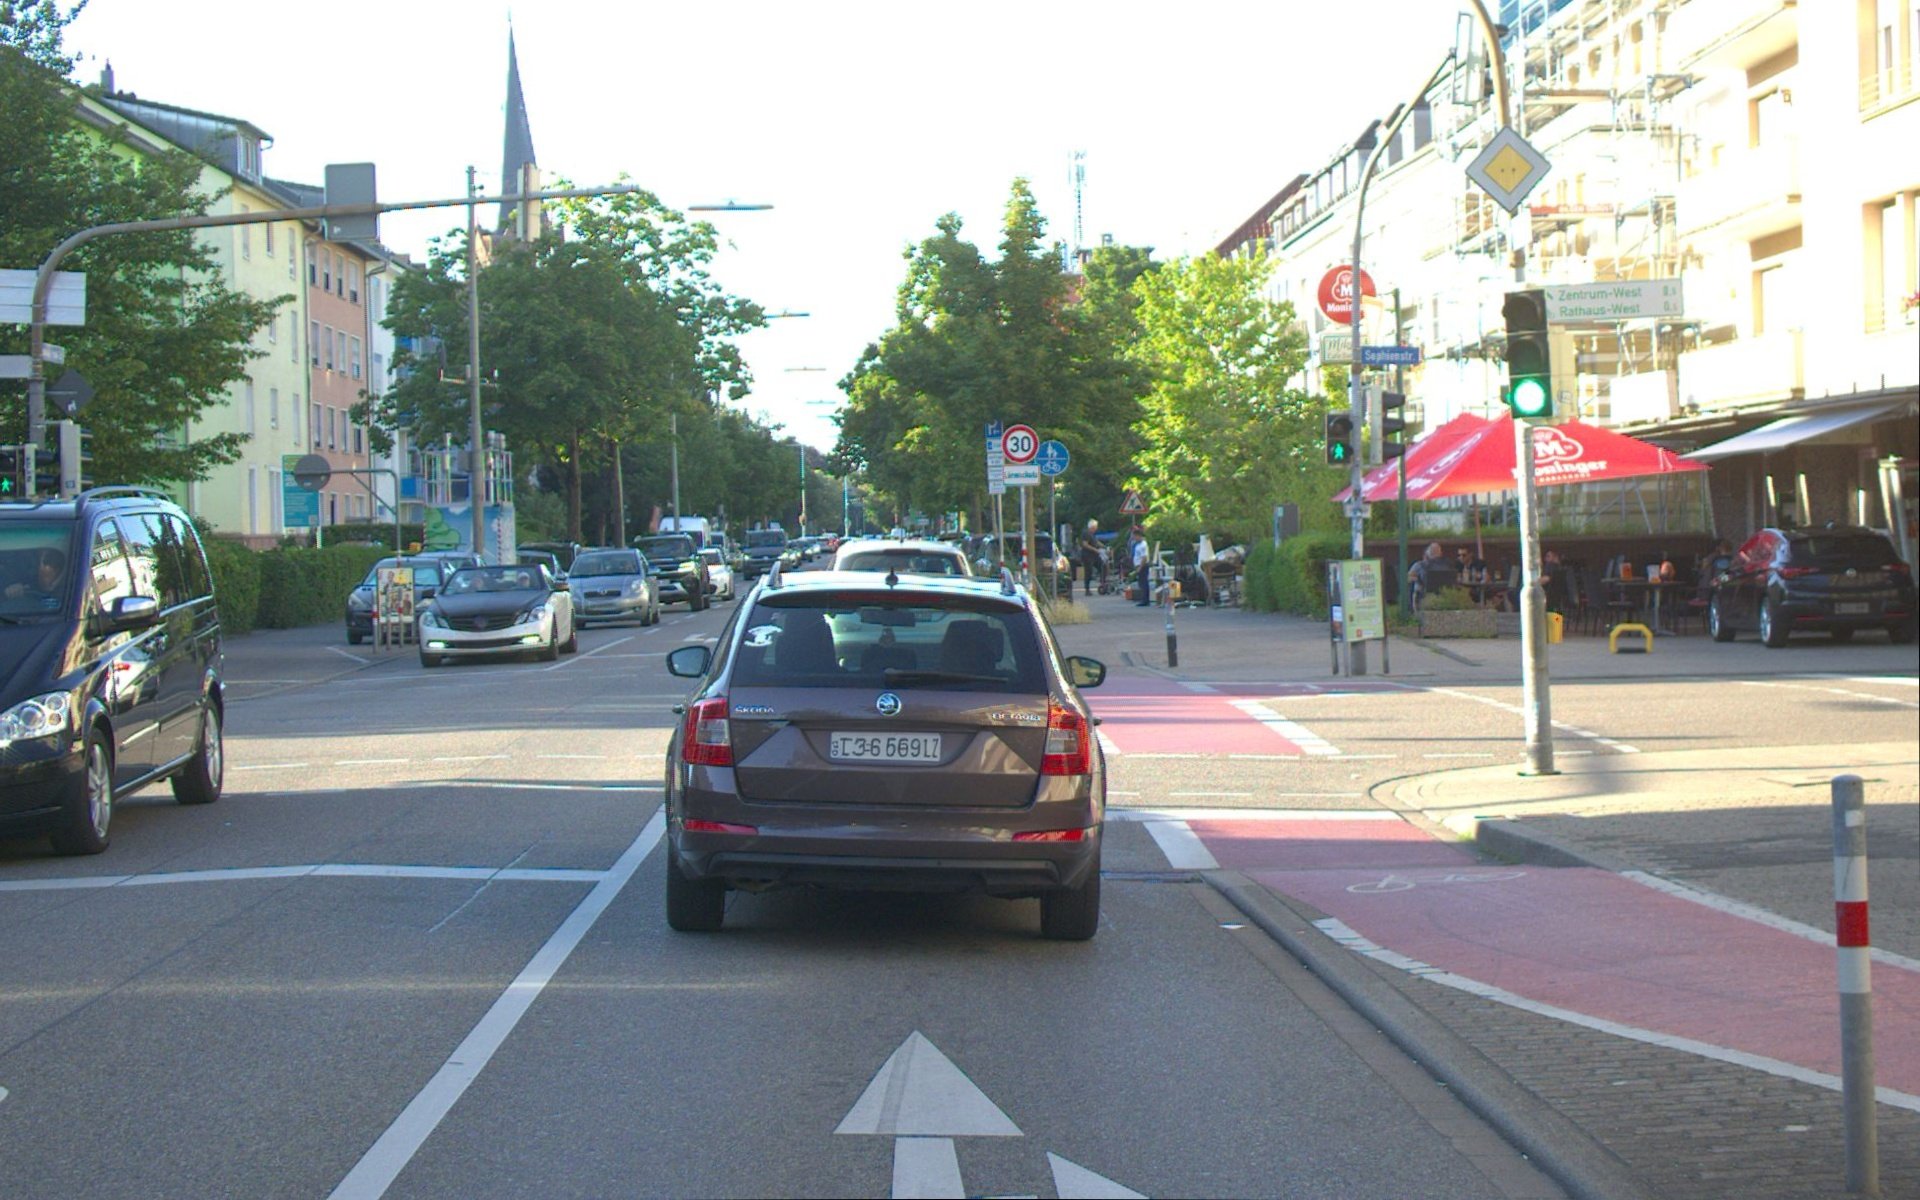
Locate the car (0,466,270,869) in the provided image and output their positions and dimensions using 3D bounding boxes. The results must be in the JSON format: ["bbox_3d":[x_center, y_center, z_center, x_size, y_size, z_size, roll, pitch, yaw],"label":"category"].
[{"bbox_3d":[-5.257,0.322,18.832,1.993,1.902,4.964,-3,1,-2],"label":"car"}]

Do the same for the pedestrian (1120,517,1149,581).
[{"bbox_3d":[4.289,-1.261,84.624,0.578,1.557,0.520,-1,1,-10],"label":"pedestrian"}]

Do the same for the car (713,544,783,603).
[{"bbox_3d":[-5.795,-0.743,94.370,1.704,1.545,4.002,-1,1,-1],"label":"car"}]

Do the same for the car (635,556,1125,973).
[{"bbox_3d":[-0.355,0.567,14.600,1.773,1.484,4.311,0,1,-2],"label":"car"}]

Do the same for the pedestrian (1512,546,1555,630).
[{"bbox_3d":[8.099,-0.168,48.578,0.505,1.172,0.428,-1,1,-1],"label":"pedestrian"}]

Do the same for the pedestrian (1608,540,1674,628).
[{"bbox_3d":[9.443,-0.222,47.689,0.729,1.194,0.855,-1,1,-1],"label":"pedestrian"}]

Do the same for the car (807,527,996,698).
[{"bbox_3d":[-0.558,0.085,33.953,1.737,1.565,4.000,1,1,0],"label":"car"}]

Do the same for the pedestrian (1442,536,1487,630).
[{"bbox_3d":[7.069,-0.240,48.213,0.499,1.298,0.507,-1,1,-4],"label":"pedestrian"}]

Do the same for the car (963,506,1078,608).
[{"bbox_3d":[1.111,-0.785,62.396,1.993,1.766,4.000,1,1,2],"label":"car"}]

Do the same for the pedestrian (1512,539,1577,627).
[{"bbox_3d":[8.062,-0.242,47.454,0.729,1.194,0.855,-1,1,-1],"label":"pedestrian"}]

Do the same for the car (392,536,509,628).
[{"bbox_3d":[-9.360,-0.354,63.393,1.560,1.612,4.000,-1,1,0],"label":"car"}]

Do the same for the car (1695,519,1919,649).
[{"bbox_3d":[10.412,-0.223,42.420,1.776,1.481,4.000,-1,1,0],"label":"car"}]

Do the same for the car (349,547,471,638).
[{"bbox_3d":[-9.242,-0.154,57.986,1.522,1.452,3.585,-1,1,-1],"label":"car"}]

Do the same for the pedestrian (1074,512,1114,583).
[{"bbox_3d":[3.288,-1.287,84.163,0.675,1.698,0.800,-1,1,25],"label":"pedestrian"}]

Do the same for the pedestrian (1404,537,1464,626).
[{"bbox_3d":[6.508,-0.257,47.232,0.677,1.194,0.855,-1,1,-1],"label":"pedestrian"}]

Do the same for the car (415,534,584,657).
[{"bbox_3d":[-6.292,-0.095,47.346,1.830,1.574,4.000,-2,1,-1],"label":"car"}]

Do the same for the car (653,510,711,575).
[{"bbox_3d":[-10.857,-2.236,134.351,1.993,2.469,4.000,-1,1,-1],"label":"car"}]

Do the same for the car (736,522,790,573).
[{"bbox_3d":[-7.986,-2.138,139.840,1.993,2.007,4.000,-1,1,-1],"label":"car"}]

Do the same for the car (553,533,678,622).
[{"bbox_3d":[-6.562,-0.456,65.812,1.993,1.605,4.000,-1,1,0],"label":"car"}]

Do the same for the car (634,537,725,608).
[{"bbox_3d":[-6.472,-0.656,79.614,1.787,1.565,4.000,1,1,0],"label":"car"}]

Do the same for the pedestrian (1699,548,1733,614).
[{"bbox_3d":[11.403,-0.290,51.834,0.372,0.992,0.522,-1,1,-1],"label":"pedestrian"}]
